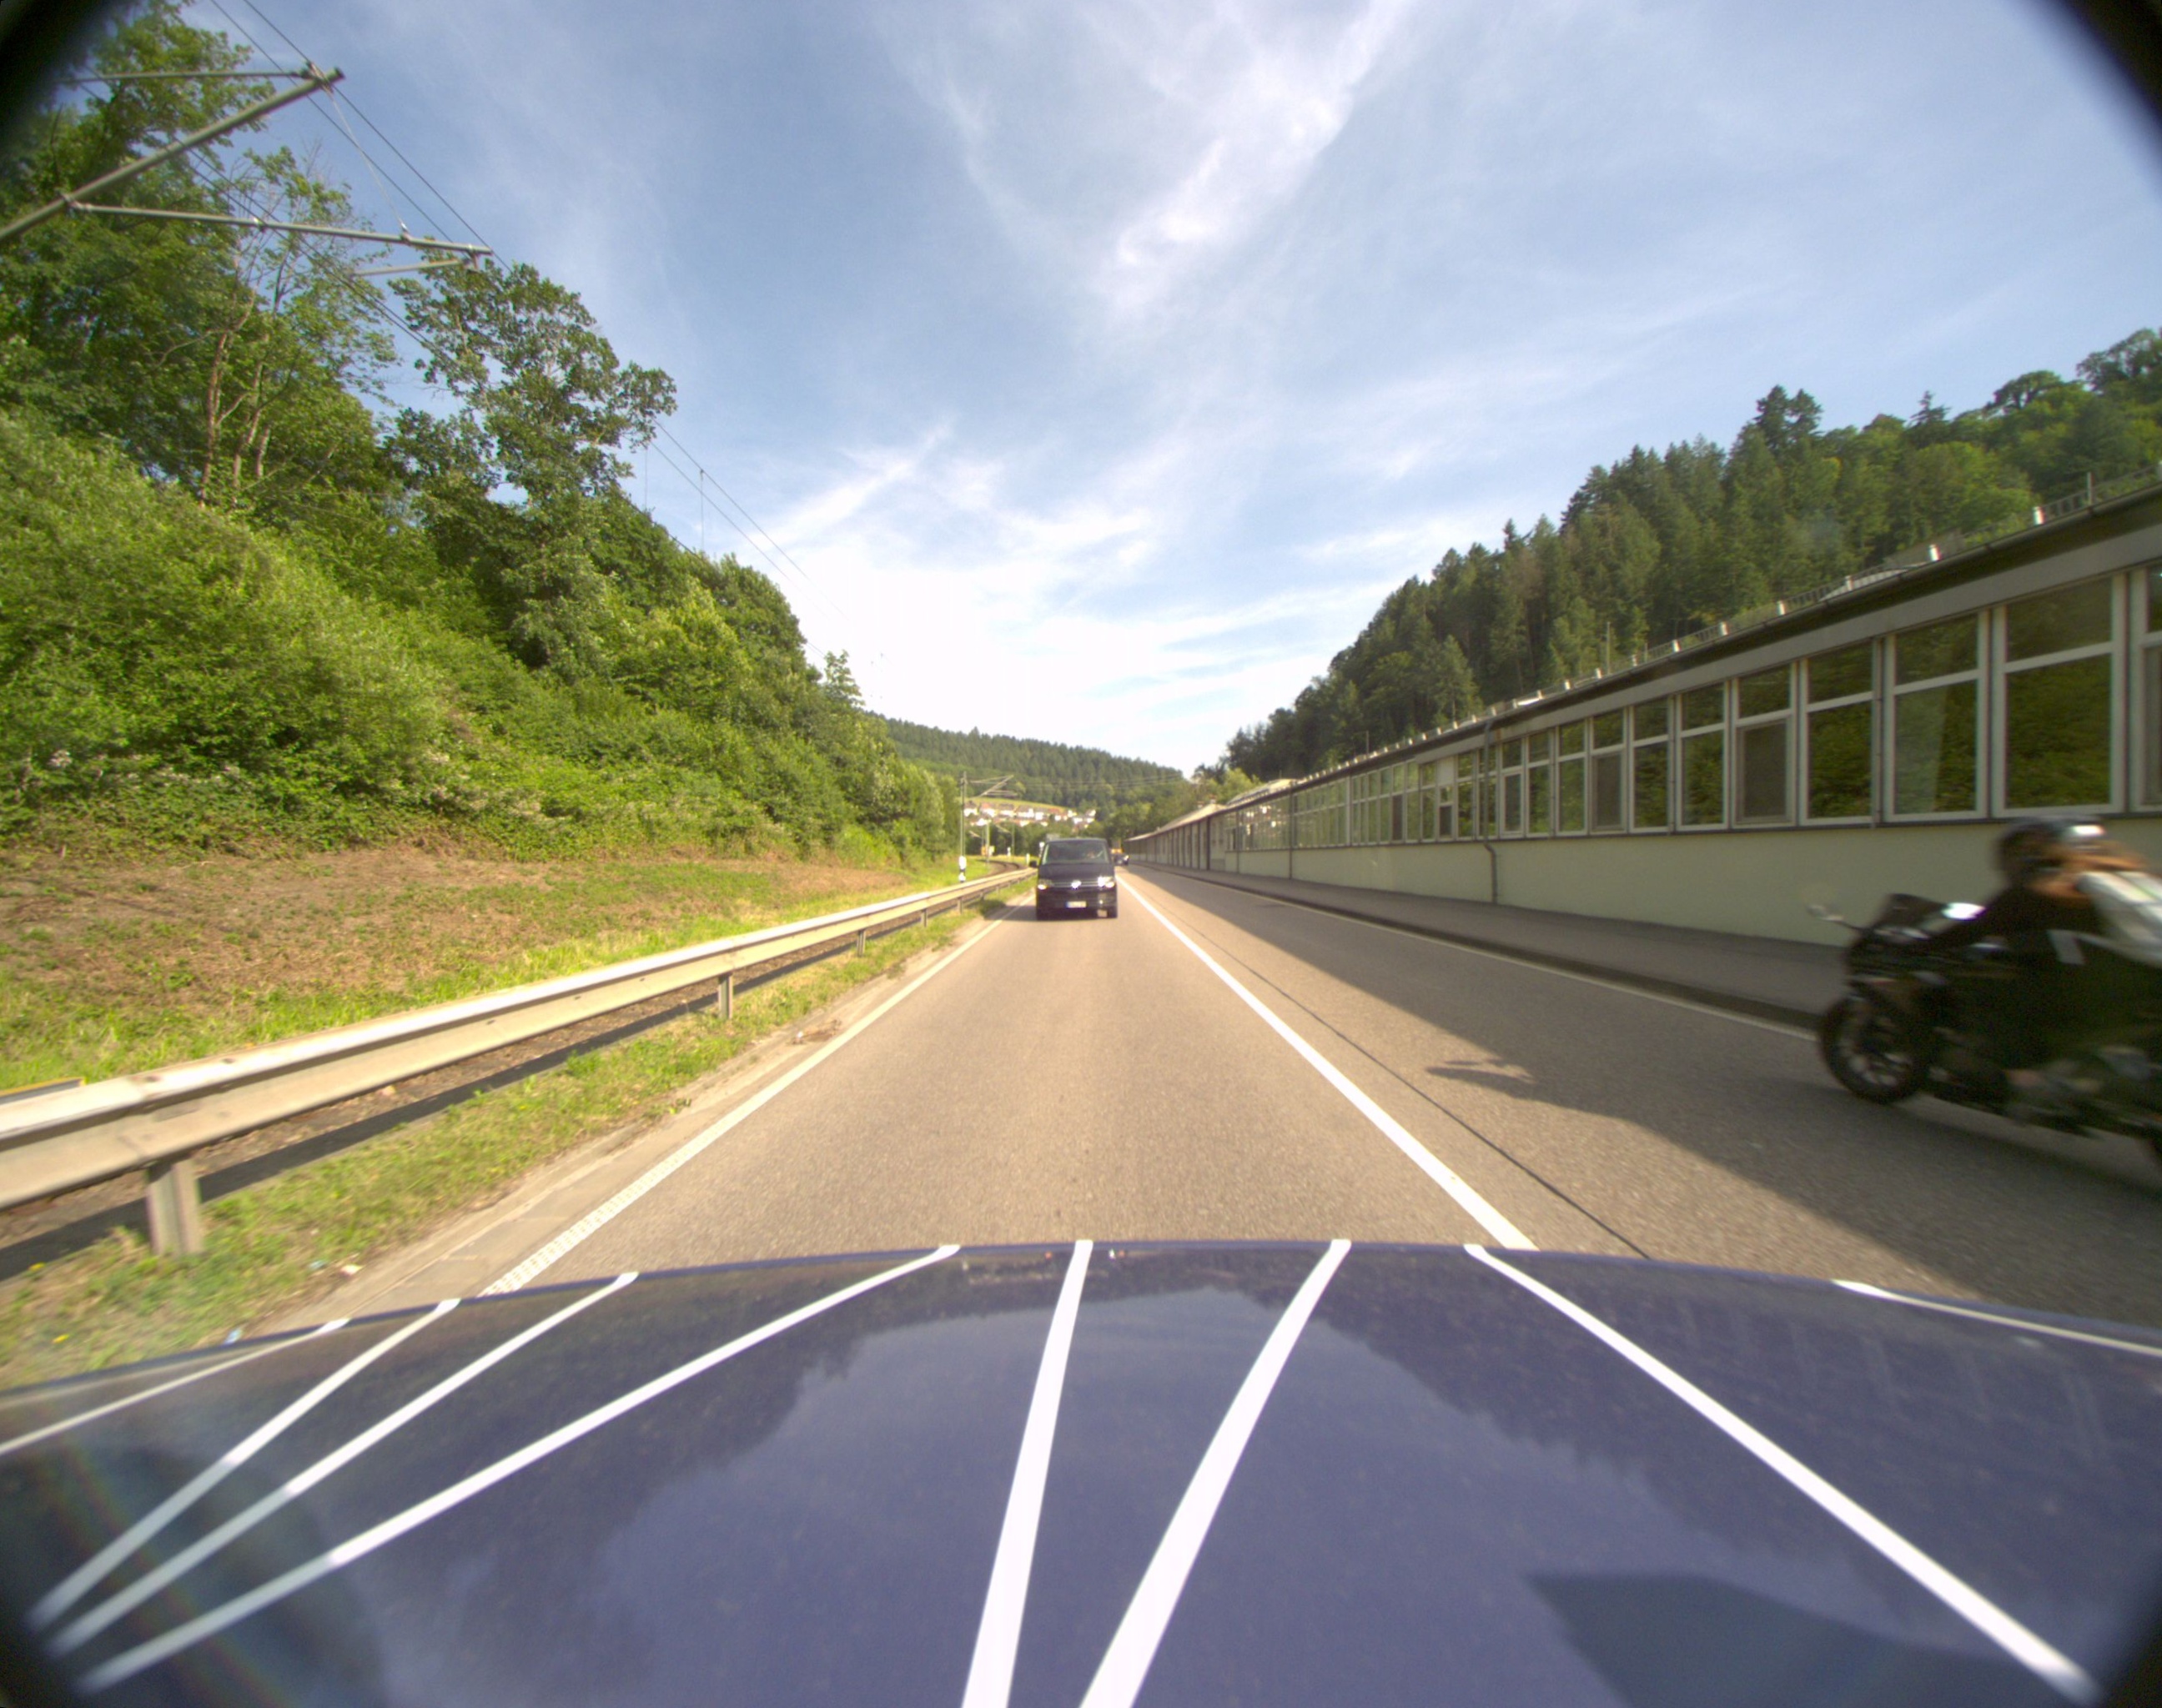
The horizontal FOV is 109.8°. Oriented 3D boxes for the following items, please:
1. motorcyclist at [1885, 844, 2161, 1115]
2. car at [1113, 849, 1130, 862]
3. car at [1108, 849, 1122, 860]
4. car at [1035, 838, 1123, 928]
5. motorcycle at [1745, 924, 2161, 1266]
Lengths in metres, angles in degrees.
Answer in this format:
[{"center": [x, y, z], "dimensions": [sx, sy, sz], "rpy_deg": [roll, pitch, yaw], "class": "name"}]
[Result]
[{"center": [4.310, 0.521, 3.480], "dimensions": [0.587, 1.118, 0.636], "rpy_deg": [-1, 1, 1], "class": "motorcyclist"}, {"center": [4.831, 0.188, 91.294], "dimensions": [1.778, 1.482, 4.051], "rpy_deg": [-2, 0, 1], "class": "car"}, {"center": [4.854, 0.063, 108.379], "dimensions": [1.723, 1.505, 4.198], "rpy_deg": [-2, 0, 1], "class": "car"}, {"center": [-0.142, 0.625, 19.350], "dimensions": [1.901, 1.927, 5.187], "rpy_deg": [-2, 0, -2], "class": "car"}, {"center": [4.339, 0.971, 3.309], "dimensions": [0.743, 1.062, 2.492], "rpy_deg": [-1, 1, 1], "class": "motorcycle"}]
